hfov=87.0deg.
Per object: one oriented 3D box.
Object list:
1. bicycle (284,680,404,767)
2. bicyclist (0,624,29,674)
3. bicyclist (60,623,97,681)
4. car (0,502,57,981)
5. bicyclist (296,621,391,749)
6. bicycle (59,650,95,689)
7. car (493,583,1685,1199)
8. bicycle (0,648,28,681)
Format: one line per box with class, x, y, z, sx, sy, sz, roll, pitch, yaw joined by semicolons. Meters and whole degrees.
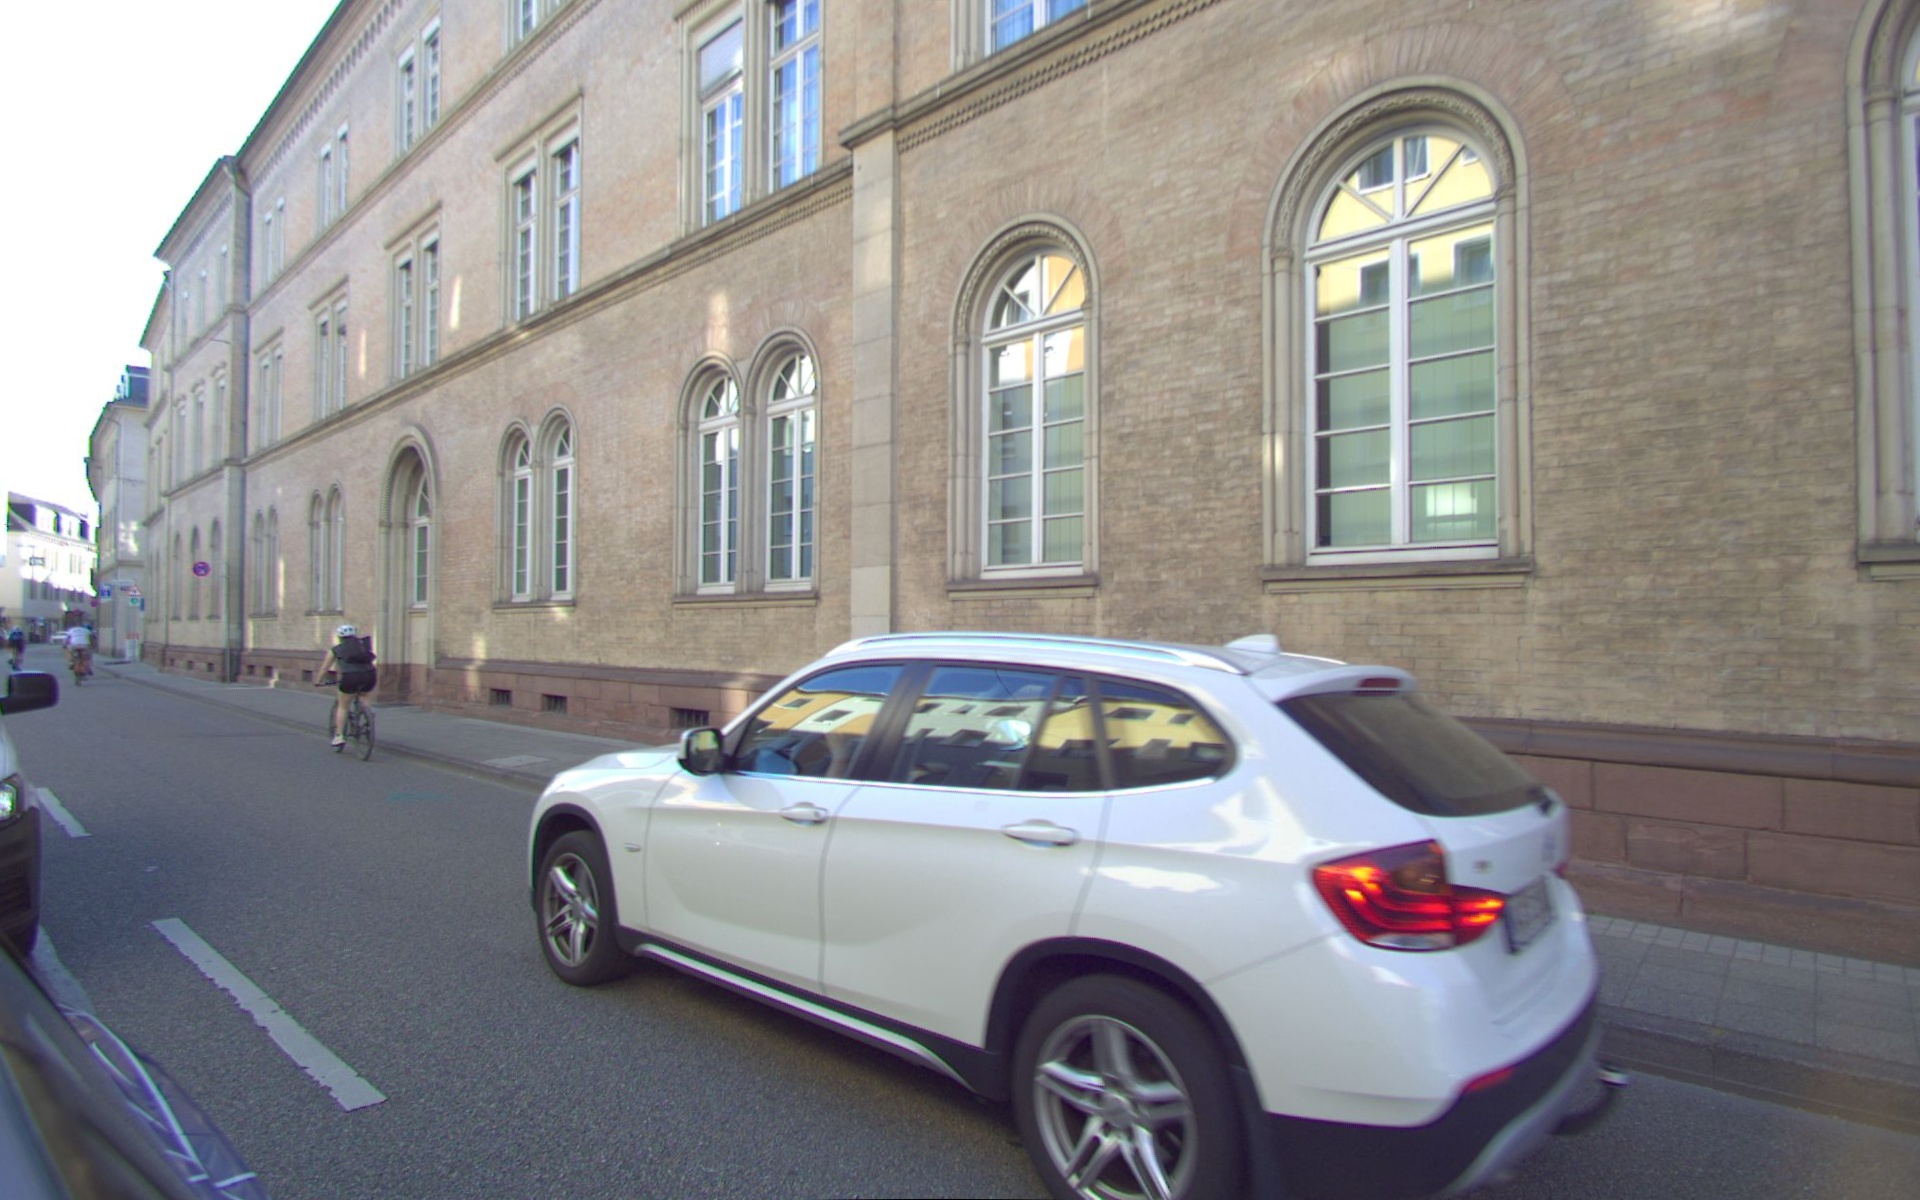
bicycle;-7.519;1.469;12.333;1.765;0.931;0.678;-2;-5;40
bicyclist;-30.059;1.567;32.184;0.538;1.545;0.871;5;-5;-40
bicyclist;-24.433;1.438;28.054;0.642;1.579;0.962;5;-5;-39
car;-6.204;0.589;5.107;5.338;1.850;1.795;-2;-3;41
bicyclist;-7.513;1.024;12.338;0.870;1.487;0.678;-2;-5;40
bicycle;-24.447;1.920;28.037;0.642;1.014;1.809;5;-5;-39
car;0.040;0.864;3.855;4.273;1.595;1.667;-2;-5;41
bicycle;-29.952;2.035;32.024;0.538;1.014;1.759;5;-5;-40
